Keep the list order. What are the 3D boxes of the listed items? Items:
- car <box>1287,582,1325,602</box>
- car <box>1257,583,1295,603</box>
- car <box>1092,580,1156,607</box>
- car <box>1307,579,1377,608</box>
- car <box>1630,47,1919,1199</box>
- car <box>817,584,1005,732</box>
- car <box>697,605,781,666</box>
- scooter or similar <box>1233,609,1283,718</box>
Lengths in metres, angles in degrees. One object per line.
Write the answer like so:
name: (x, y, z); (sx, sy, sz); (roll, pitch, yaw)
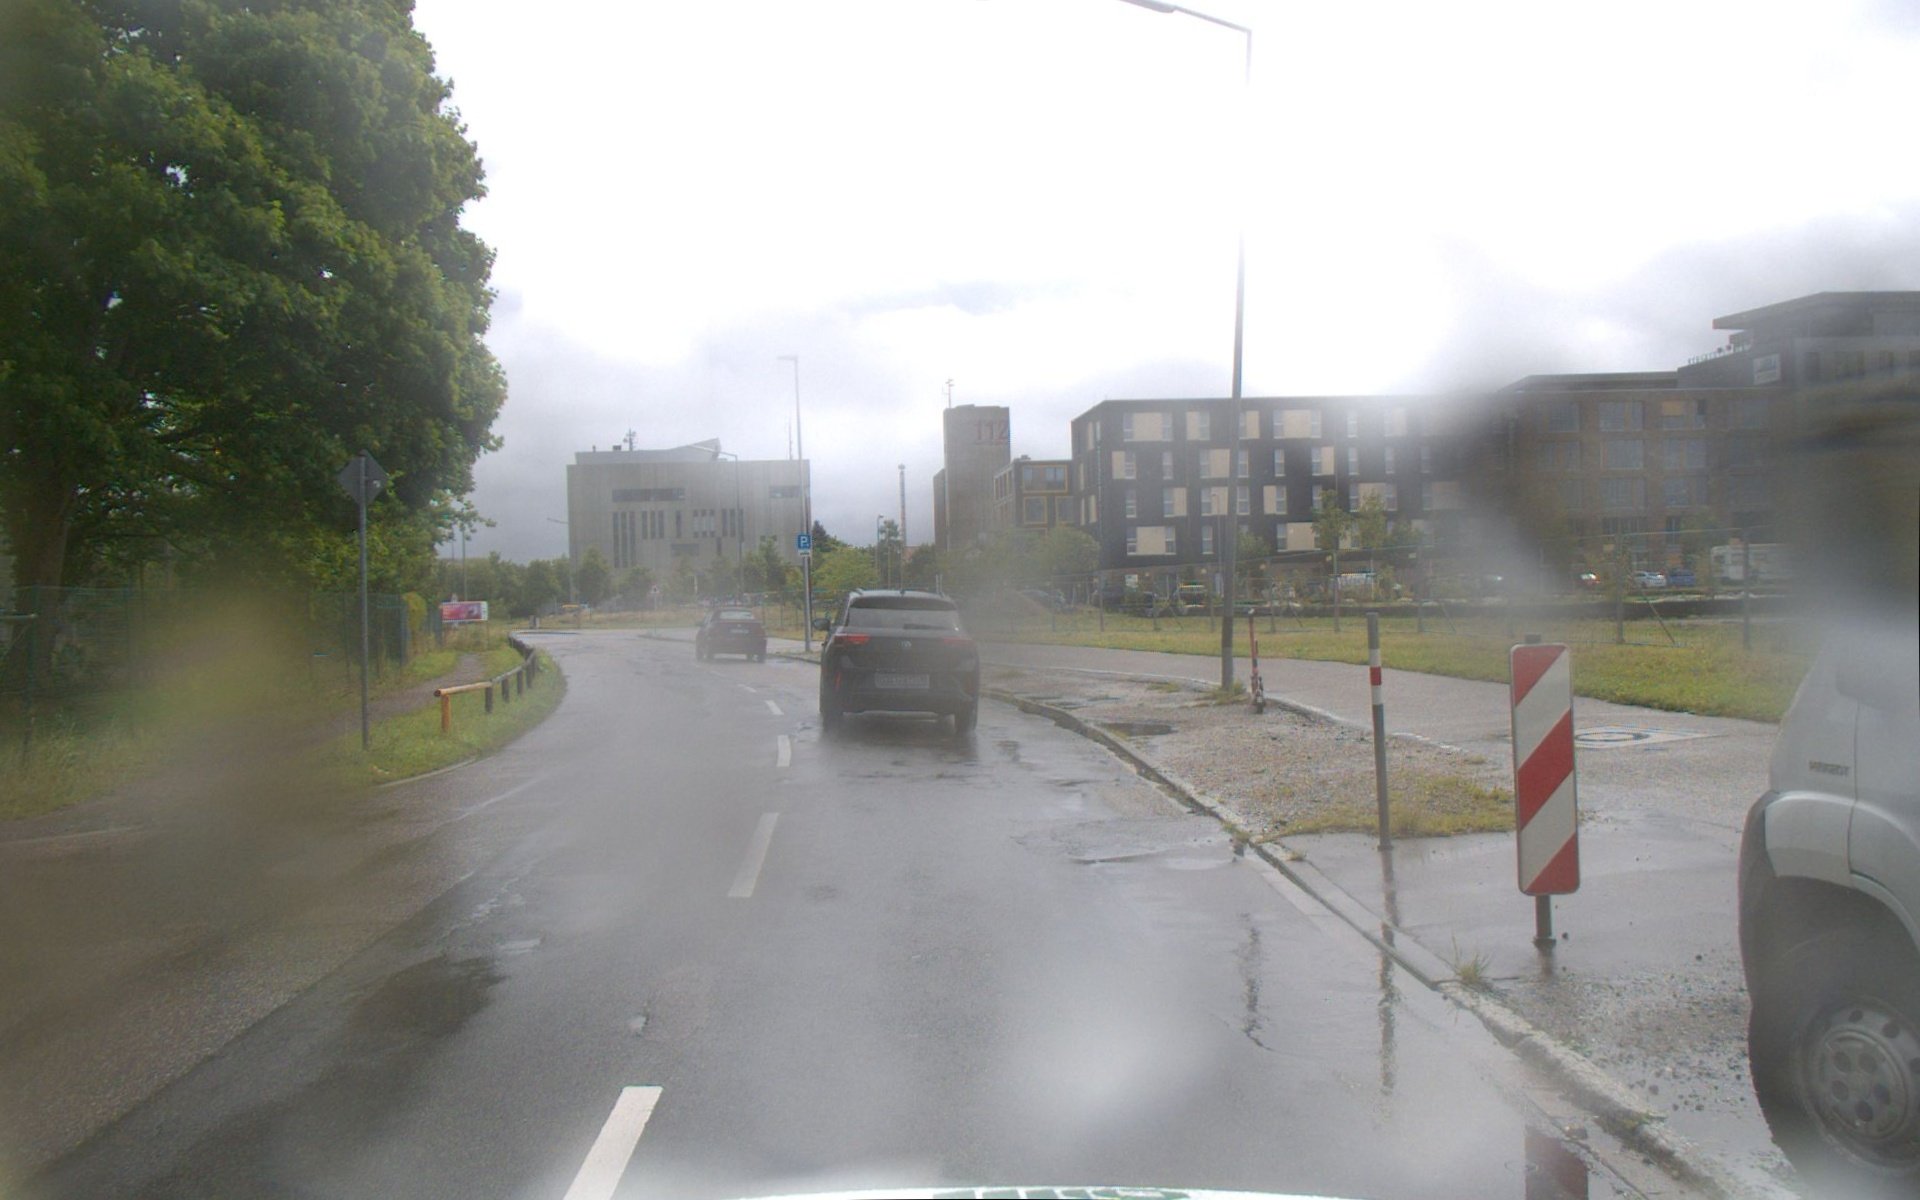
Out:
car: (26.162, -0.620, 125.165); (1.607, 1.421, 3.775); (0, -1, -7)
car: (23.844, -0.535, 124.980); (1.729, 1.420, 3.801); (1, 0, -8)
car: (11.168, -0.404, 112.482); (3.916, 1.758, 1.995); (1, 0, -11)
car: (26.414, -0.438, 114.365); (4.241, 1.803, 1.997); (3, -1, -7)
car: (3.068, 0.067, 1.769); (2.050, 2.516, 5.945); (-3, 0, -1)
car: (-0.684, 0.630, 19.609); (1.948, 1.547, 3.995); (1, 0, -6)
car: (-6.149, 0.950, 45.750); (1.811, 1.467, 3.985); (-5, 1, -14)
scooter or similar: (3.573, 0.748, 19.885); (0.480, 1.236, 1.341); (-2, 0, 7)
